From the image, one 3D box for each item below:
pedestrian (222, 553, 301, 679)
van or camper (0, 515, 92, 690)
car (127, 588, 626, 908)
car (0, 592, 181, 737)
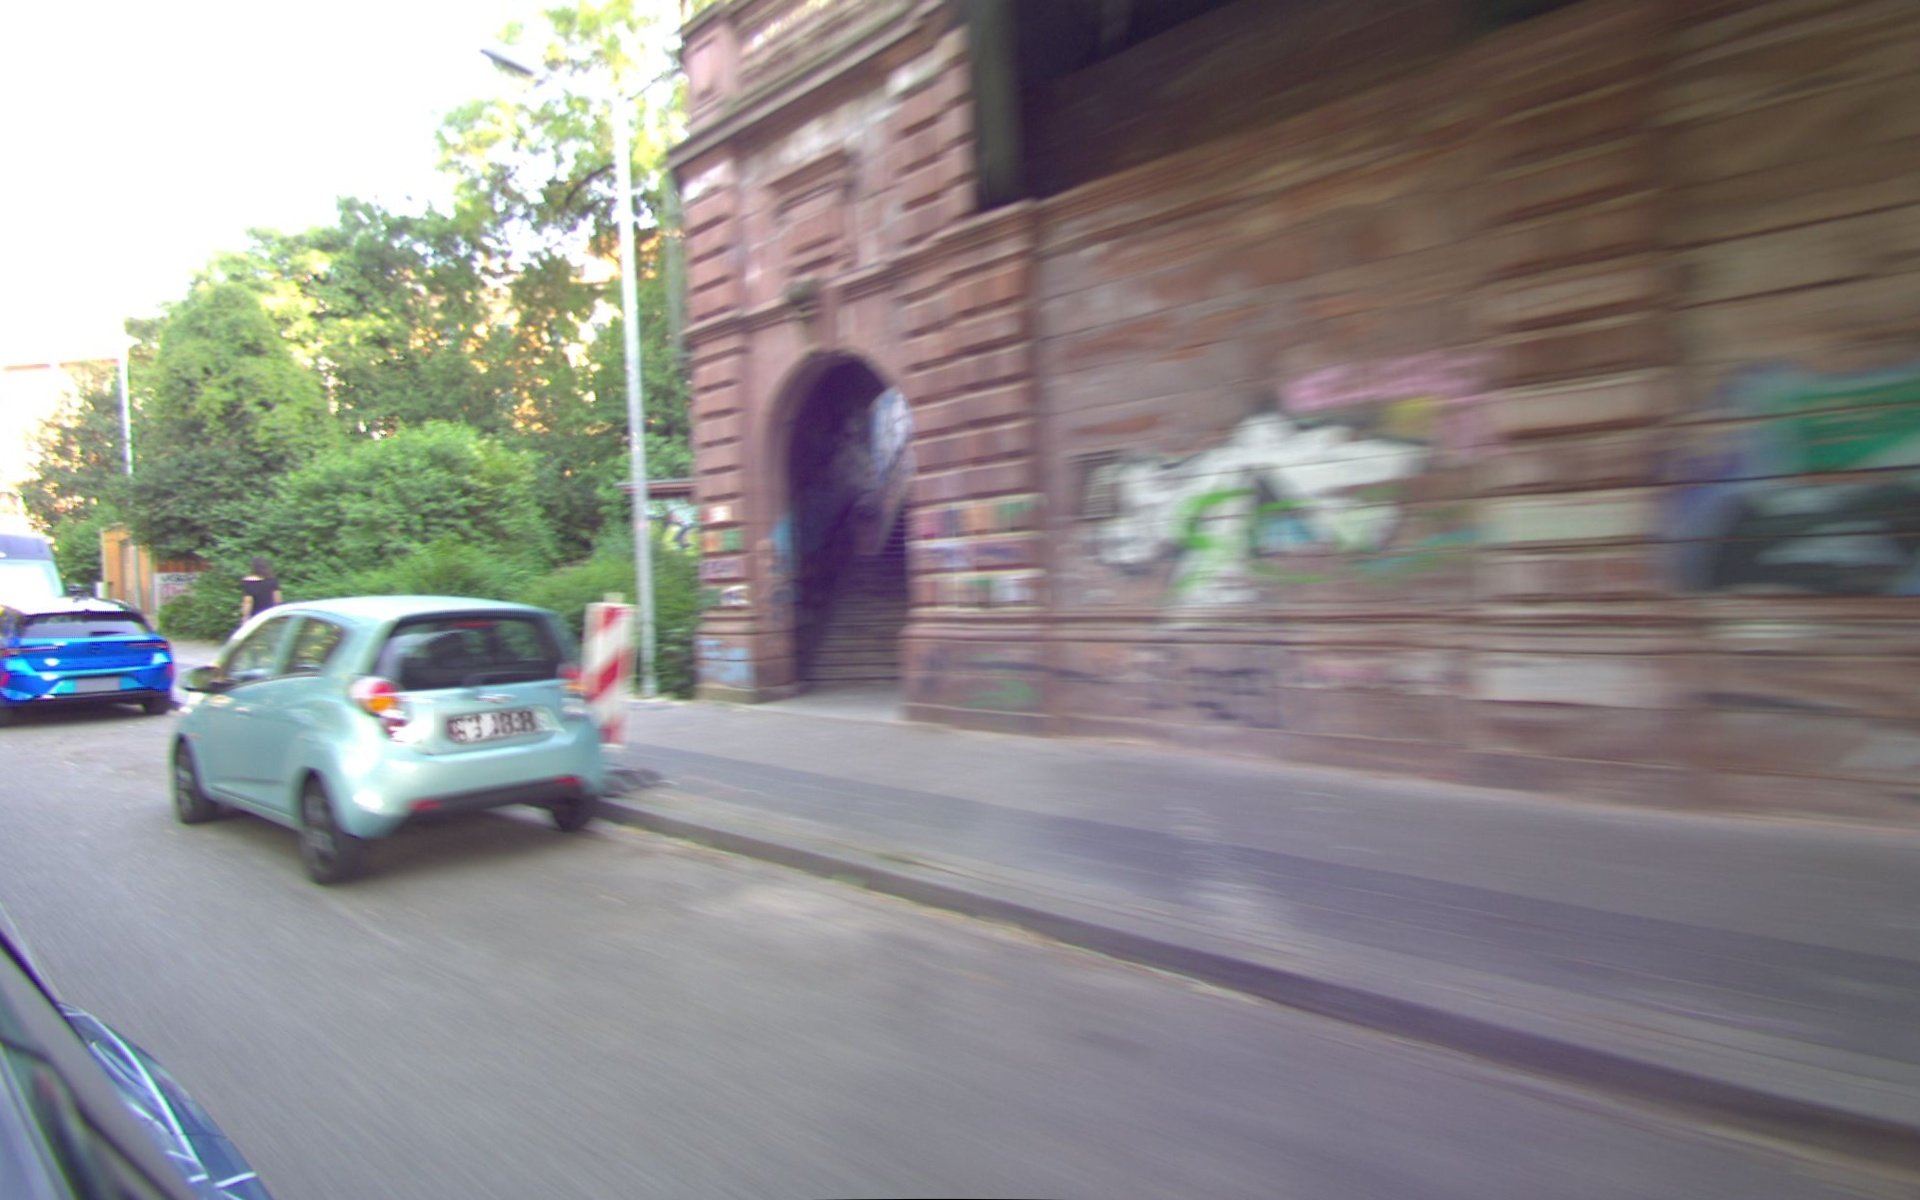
[{"bbox_3d":[-11.098,0.232,16.085,1.044,1.928,0.632,0,3,35],"label":"pedestrian"},{"bbox_3d":[-16.557,0.007,16.592,6.412,2.541,2.215,1,3,38],"label":"van or camper"},{"bbox_3d":[-4.061,0.721,6.794,3.910,1.559,1.579,0,0,38],"label":"car"},{"bbox_3d":[-11.706,0.684,12.880,4.369,1.477,1.729,1,3,37],"label":"car"}]
